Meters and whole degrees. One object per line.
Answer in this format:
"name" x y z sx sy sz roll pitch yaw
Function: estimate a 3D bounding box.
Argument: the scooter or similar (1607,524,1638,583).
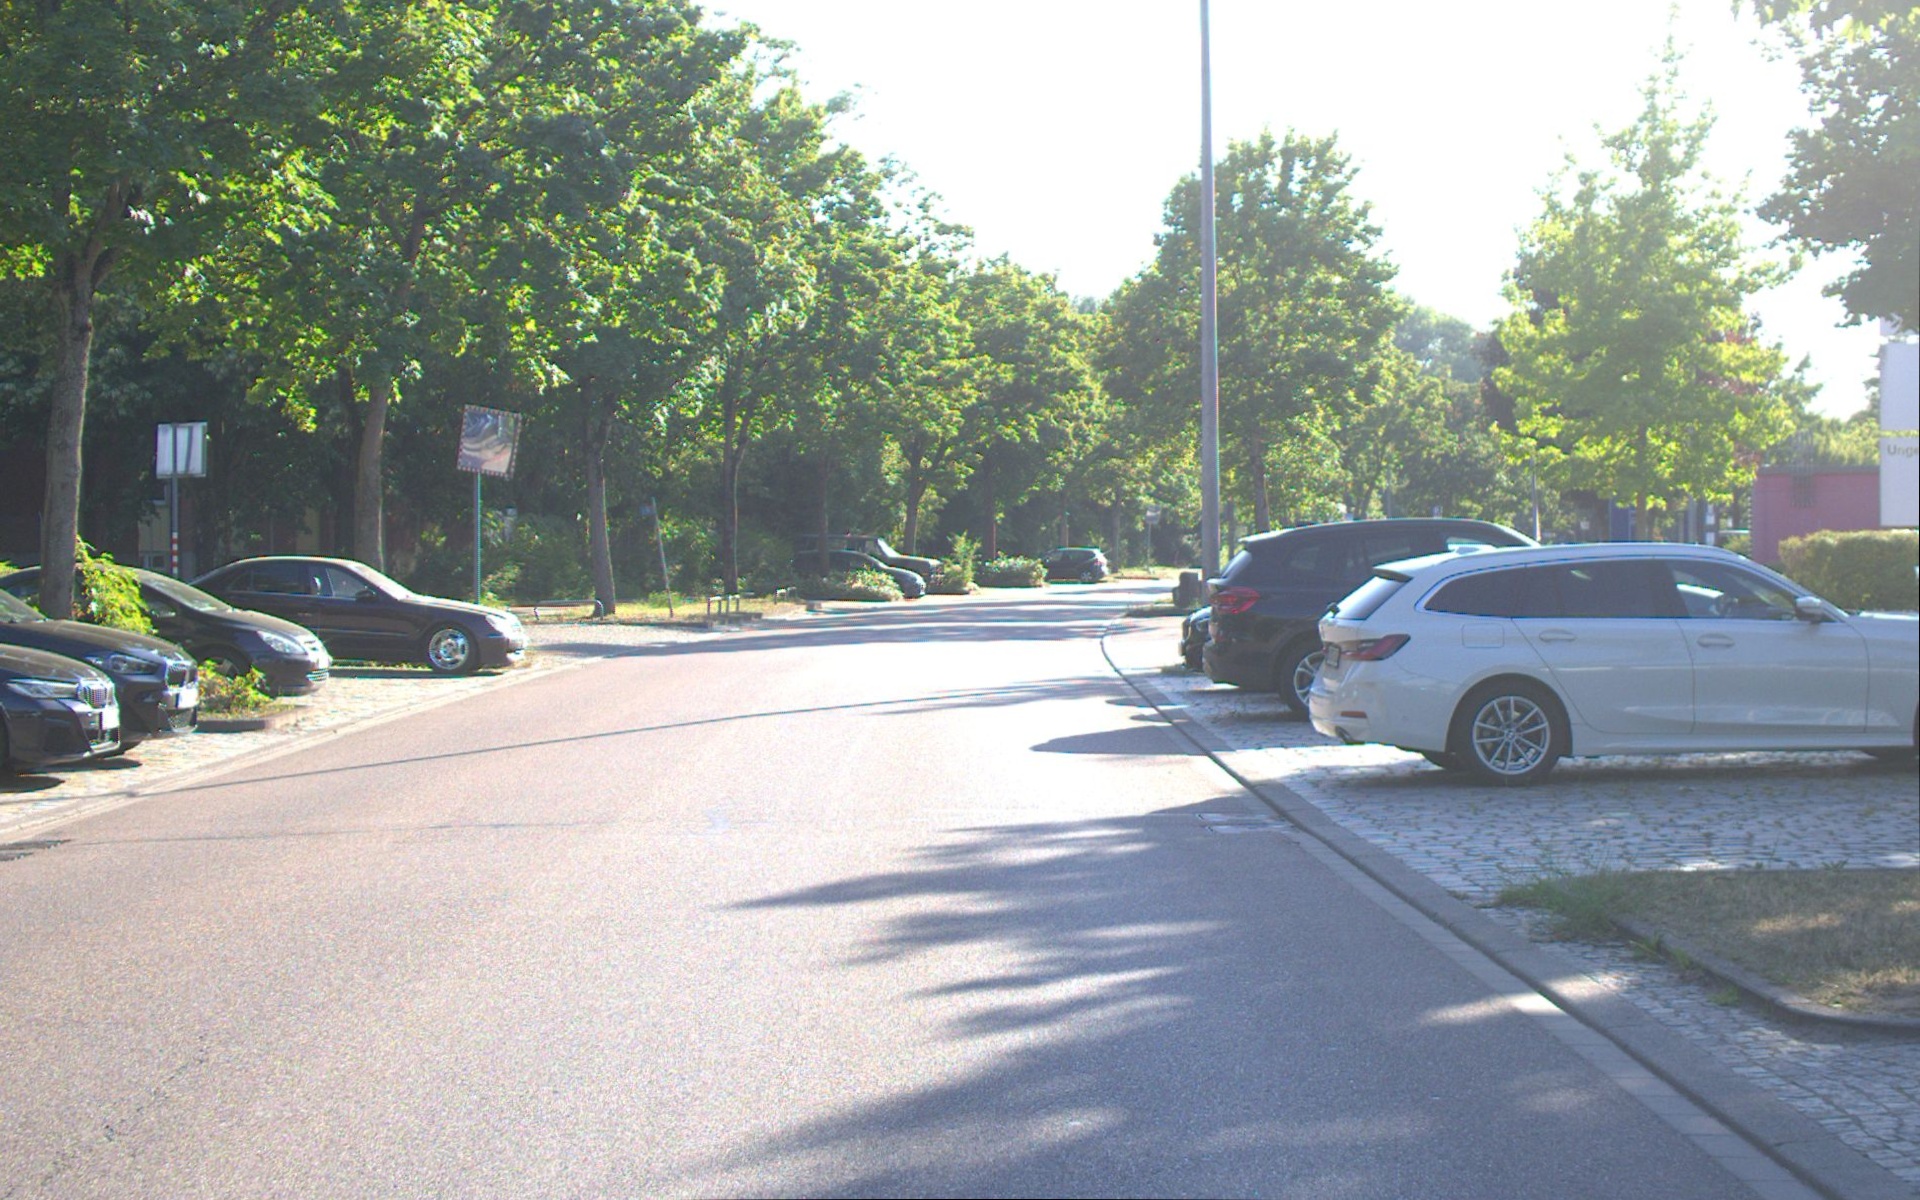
"scooter or similar" 14.424 -1.024 74.879 0.520 1.267 1.387 -1 1 5

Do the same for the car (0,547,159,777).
"car" -8.282 0.367 24.226 4.849 1.525 2.000 1 1 -3

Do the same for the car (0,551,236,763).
"car" -8.072 0.382 26.649 4.479 1.525 2.000 1 1 0

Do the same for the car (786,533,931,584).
"car" -3.088 -1.269 105.255 4.213 1.525 1.705 0 1 7

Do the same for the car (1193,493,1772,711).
"car" 4.348 -0.003 29.280 4.695 1.745 2.191 0 1 4

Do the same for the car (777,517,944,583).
"car" -3.150 -1.590 109.072 5.006 2.013 2.174 0 1 7

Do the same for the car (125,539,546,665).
"car" -7.970 0.008 44.218 5.035 1.457 2.000 1 1 0

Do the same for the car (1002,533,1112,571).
"car" 4.103 -2.054 145.686 4.360 1.474 1.999 2 2 11

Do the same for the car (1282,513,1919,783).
"car" 4.498 0.256 21.629 4.694 1.474 2.000 -2 1 0

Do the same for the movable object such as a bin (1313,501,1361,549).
"movable object such as a bin" 25.148 -4.989 229.237 2.839 3.058 4.925 2 2 10

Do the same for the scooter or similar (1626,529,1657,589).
"scooter or similar" 14.546 -0.879 73.411 0.520 1.267 1.200 0 1 5

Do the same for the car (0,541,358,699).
"car" -8.472 0.170 34.510 4.479 1.457 2.000 1 1 0

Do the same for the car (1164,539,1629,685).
"car" 4.404 0.103 35.208 4.481 1.399 2.034 -1 1 0
